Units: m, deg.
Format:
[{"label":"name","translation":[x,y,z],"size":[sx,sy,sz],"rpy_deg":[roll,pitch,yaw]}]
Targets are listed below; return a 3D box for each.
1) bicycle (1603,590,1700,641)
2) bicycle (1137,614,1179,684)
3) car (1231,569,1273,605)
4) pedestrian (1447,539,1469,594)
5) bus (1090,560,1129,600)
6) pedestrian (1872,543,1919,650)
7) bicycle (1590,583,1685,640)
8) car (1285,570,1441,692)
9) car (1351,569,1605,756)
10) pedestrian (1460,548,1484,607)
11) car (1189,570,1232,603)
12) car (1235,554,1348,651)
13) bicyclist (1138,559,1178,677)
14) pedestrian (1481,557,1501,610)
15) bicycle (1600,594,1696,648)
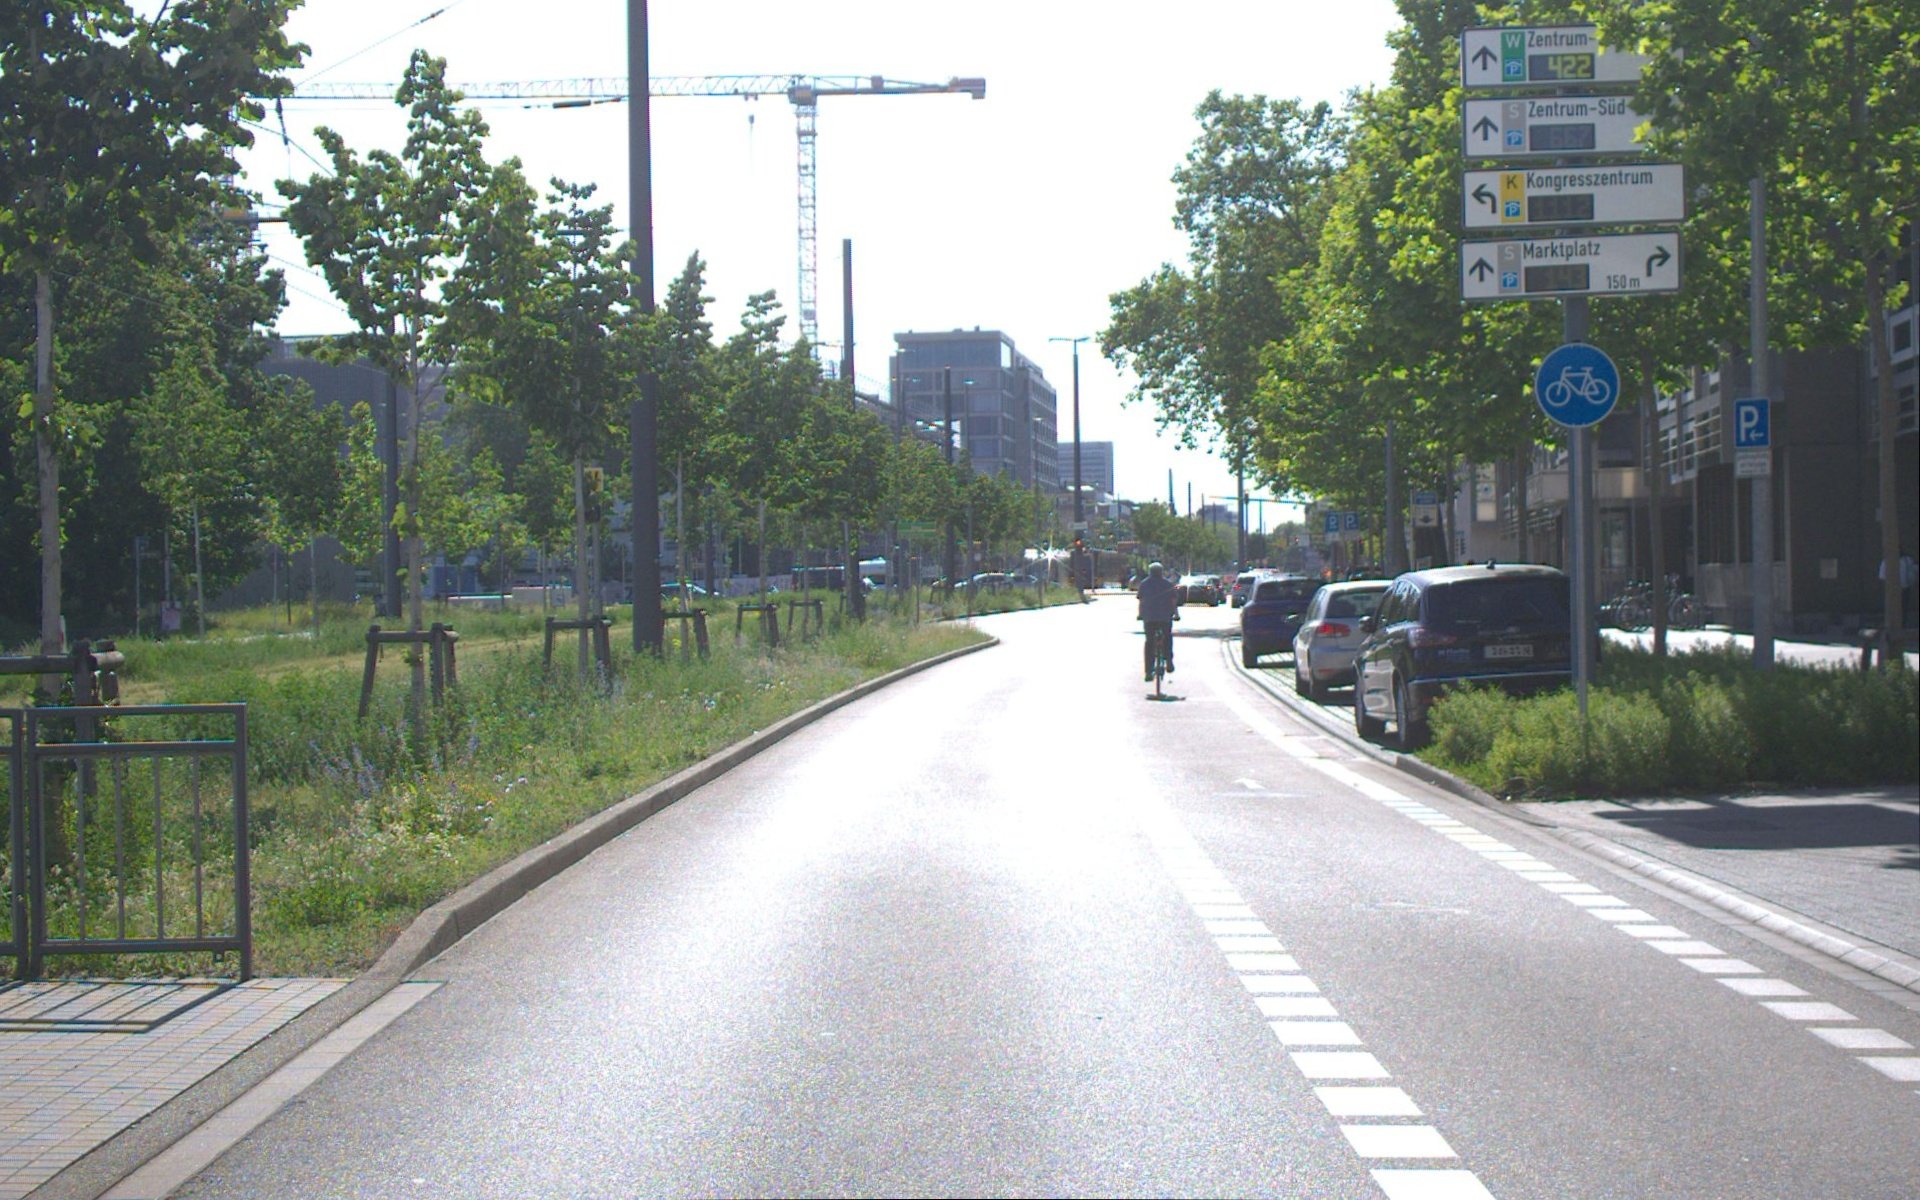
[{"label":"bicycle","translation":[13.866,0.314,68.961],"size":[1.858,0.935,0.426],"rpy_deg":[-3,0,8]},{"label":"bicycle","translation":[2.700,0.664,47.063],"size":[0.497,0.903,2.196],"rpy_deg":[1,0,2]},{"label":"car","translation":[13.562,-0.598,159.601],"size":[1.722,1.612,4.185],"rpy_deg":[0,1,8]},{"label":"pedestrian","translation":[13.611,-0.911,94.025],"size":[0.511,1.469,0.736],"rpy_deg":[-2,0,6]},{"label":"bus","translation":[11.467,-1.502,263.560],"size":[2.628,2.949,9.897],"rpy_deg":[1,0,4]},{"label":"pedestrian","translation":[14.326,-0.056,52.648],"size":[0.511,1.617,0.674],"rpy_deg":[-3,0,6]},{"label":"bicycle","translation":[14.105,0.244,71.589],"size":[1.858,1.094,0.426],"rpy_deg":[-3,0,8]},{"label":"car","translation":[5.229,0.375,45.005],"size":[1.618,1.460,4.155],"rpy_deg":[-2,0,2]},{"label":"car","translation":[4.876,0.544,32.893],"size":[1.747,1.653,4.470],"rpy_deg":[-1,0,0]},{"label":"pedestrian","translation":[14.880,-0.655,99.988],"size":[0.647,1.722,0.803],"rpy_deg":[0,0,6]},{"label":"car","translation":[11.902,-0.648,163.218],"size":[1.912,1.481,4.009],"rpy_deg":[0,1,6]},{"label":"car","translation":[6.088,0.022,63.512],"size":[1.849,1.651,4.848],"rpy_deg":[-2,0,4]},{"label":"bicyclist","translation":[2.701,0.247,46.920],"size":[0.512,1.595,0.536],"rpy_deg":[-1,0,2]},{"label":"pedestrian","translation":[17.362,-0.547,112.427],"size":[0.511,1.695,0.774],"rpy_deg":[-3,0,6]},{"label":"bicycle","translation":[13.988,0.431,69.933],"size":[1.858,1.007,0.426],"rpy_deg":[-3,0,8]}]
